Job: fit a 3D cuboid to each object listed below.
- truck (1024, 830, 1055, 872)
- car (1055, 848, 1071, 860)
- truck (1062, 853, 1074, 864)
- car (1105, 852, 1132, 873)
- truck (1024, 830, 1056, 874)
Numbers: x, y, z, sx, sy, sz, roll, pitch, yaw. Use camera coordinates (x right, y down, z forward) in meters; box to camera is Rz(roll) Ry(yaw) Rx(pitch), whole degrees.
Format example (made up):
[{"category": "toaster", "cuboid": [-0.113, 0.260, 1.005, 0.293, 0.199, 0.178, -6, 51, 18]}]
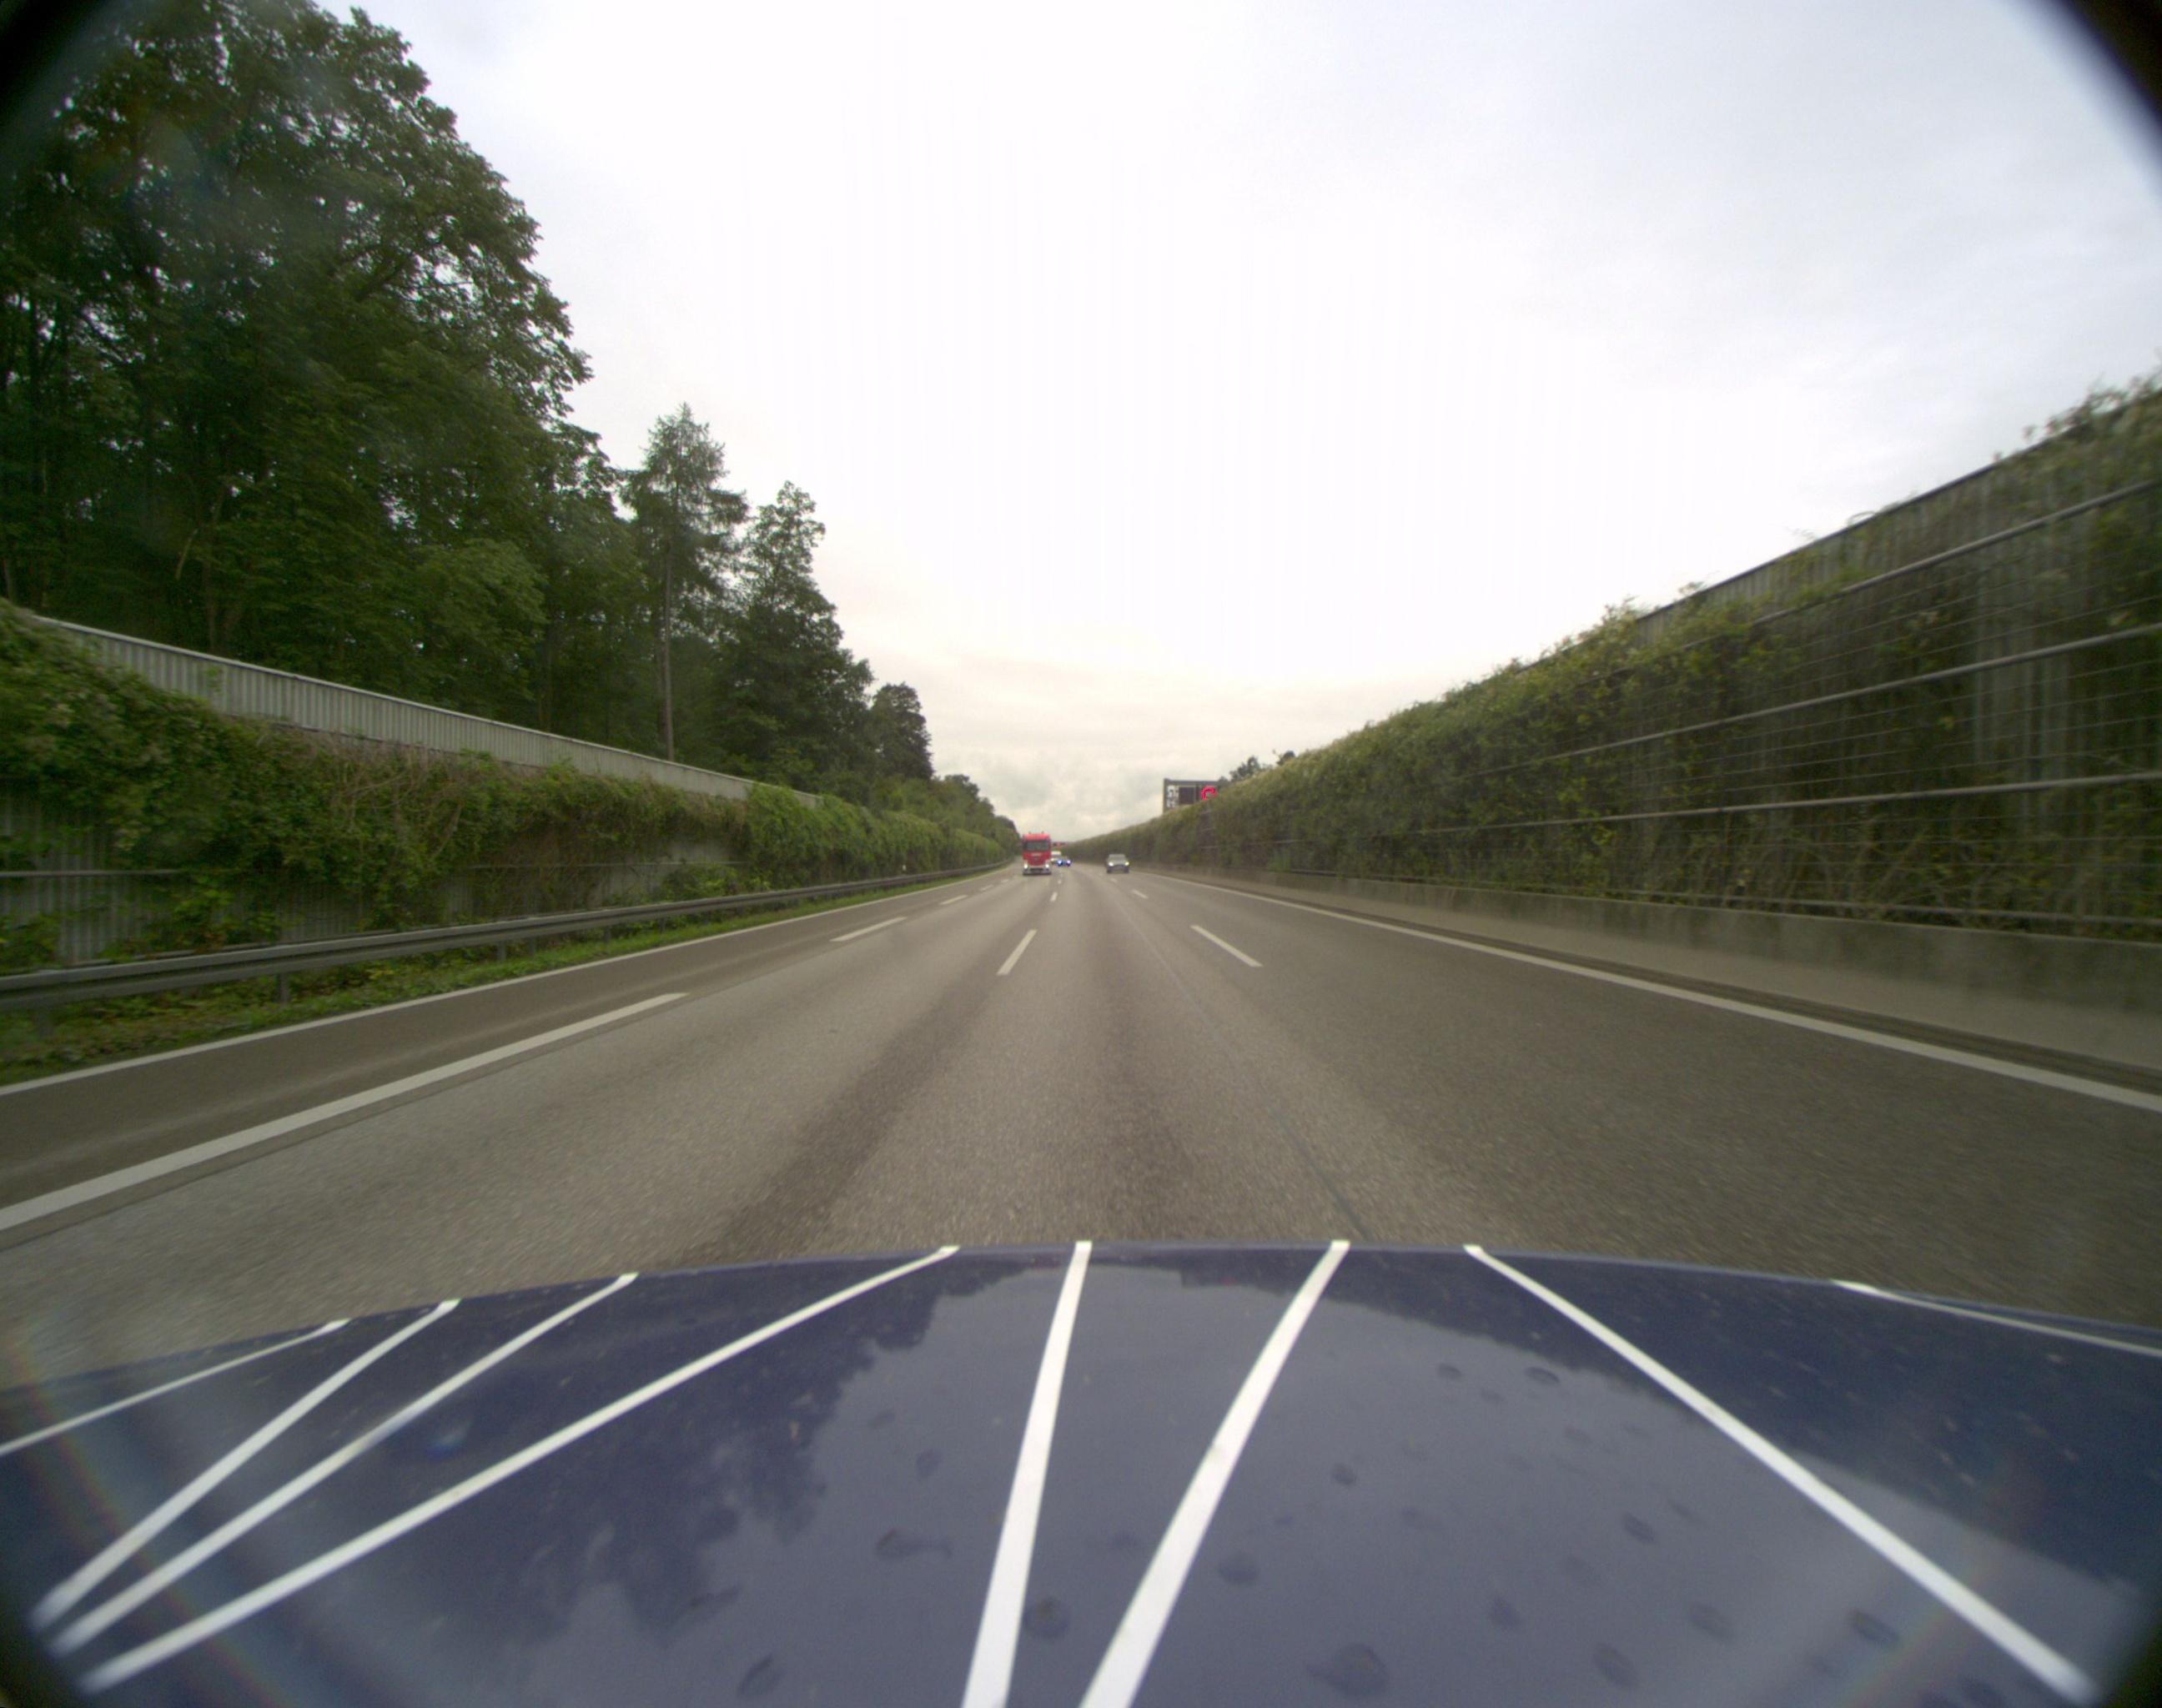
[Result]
[{"category": "truck", "cuboid": [-3.999, -0.380, 72.923, 2.709, 3.691, 9.835, -1, 2, -3]}, {"category": "car", "cuboid": [-3.414, -0.006, 142.601, 2.769, 2.227, 6.544, -1, 1, -2]}, {"category": "truck", "cuboid": [-2.034, 0.649, 118.485, 1.825, 1.535, 3.998, -2, 2, -1]}, {"category": "car", "cuboid": [3.368, 0.732, 68.461, 2.023, 1.595, 5.438, -3, 1, -1]}, {"category": "truck", "cuboid": [-3.696, -0.260, 68.100, 2.710, 3.809, 4.196, -1, 2, -4]}]
